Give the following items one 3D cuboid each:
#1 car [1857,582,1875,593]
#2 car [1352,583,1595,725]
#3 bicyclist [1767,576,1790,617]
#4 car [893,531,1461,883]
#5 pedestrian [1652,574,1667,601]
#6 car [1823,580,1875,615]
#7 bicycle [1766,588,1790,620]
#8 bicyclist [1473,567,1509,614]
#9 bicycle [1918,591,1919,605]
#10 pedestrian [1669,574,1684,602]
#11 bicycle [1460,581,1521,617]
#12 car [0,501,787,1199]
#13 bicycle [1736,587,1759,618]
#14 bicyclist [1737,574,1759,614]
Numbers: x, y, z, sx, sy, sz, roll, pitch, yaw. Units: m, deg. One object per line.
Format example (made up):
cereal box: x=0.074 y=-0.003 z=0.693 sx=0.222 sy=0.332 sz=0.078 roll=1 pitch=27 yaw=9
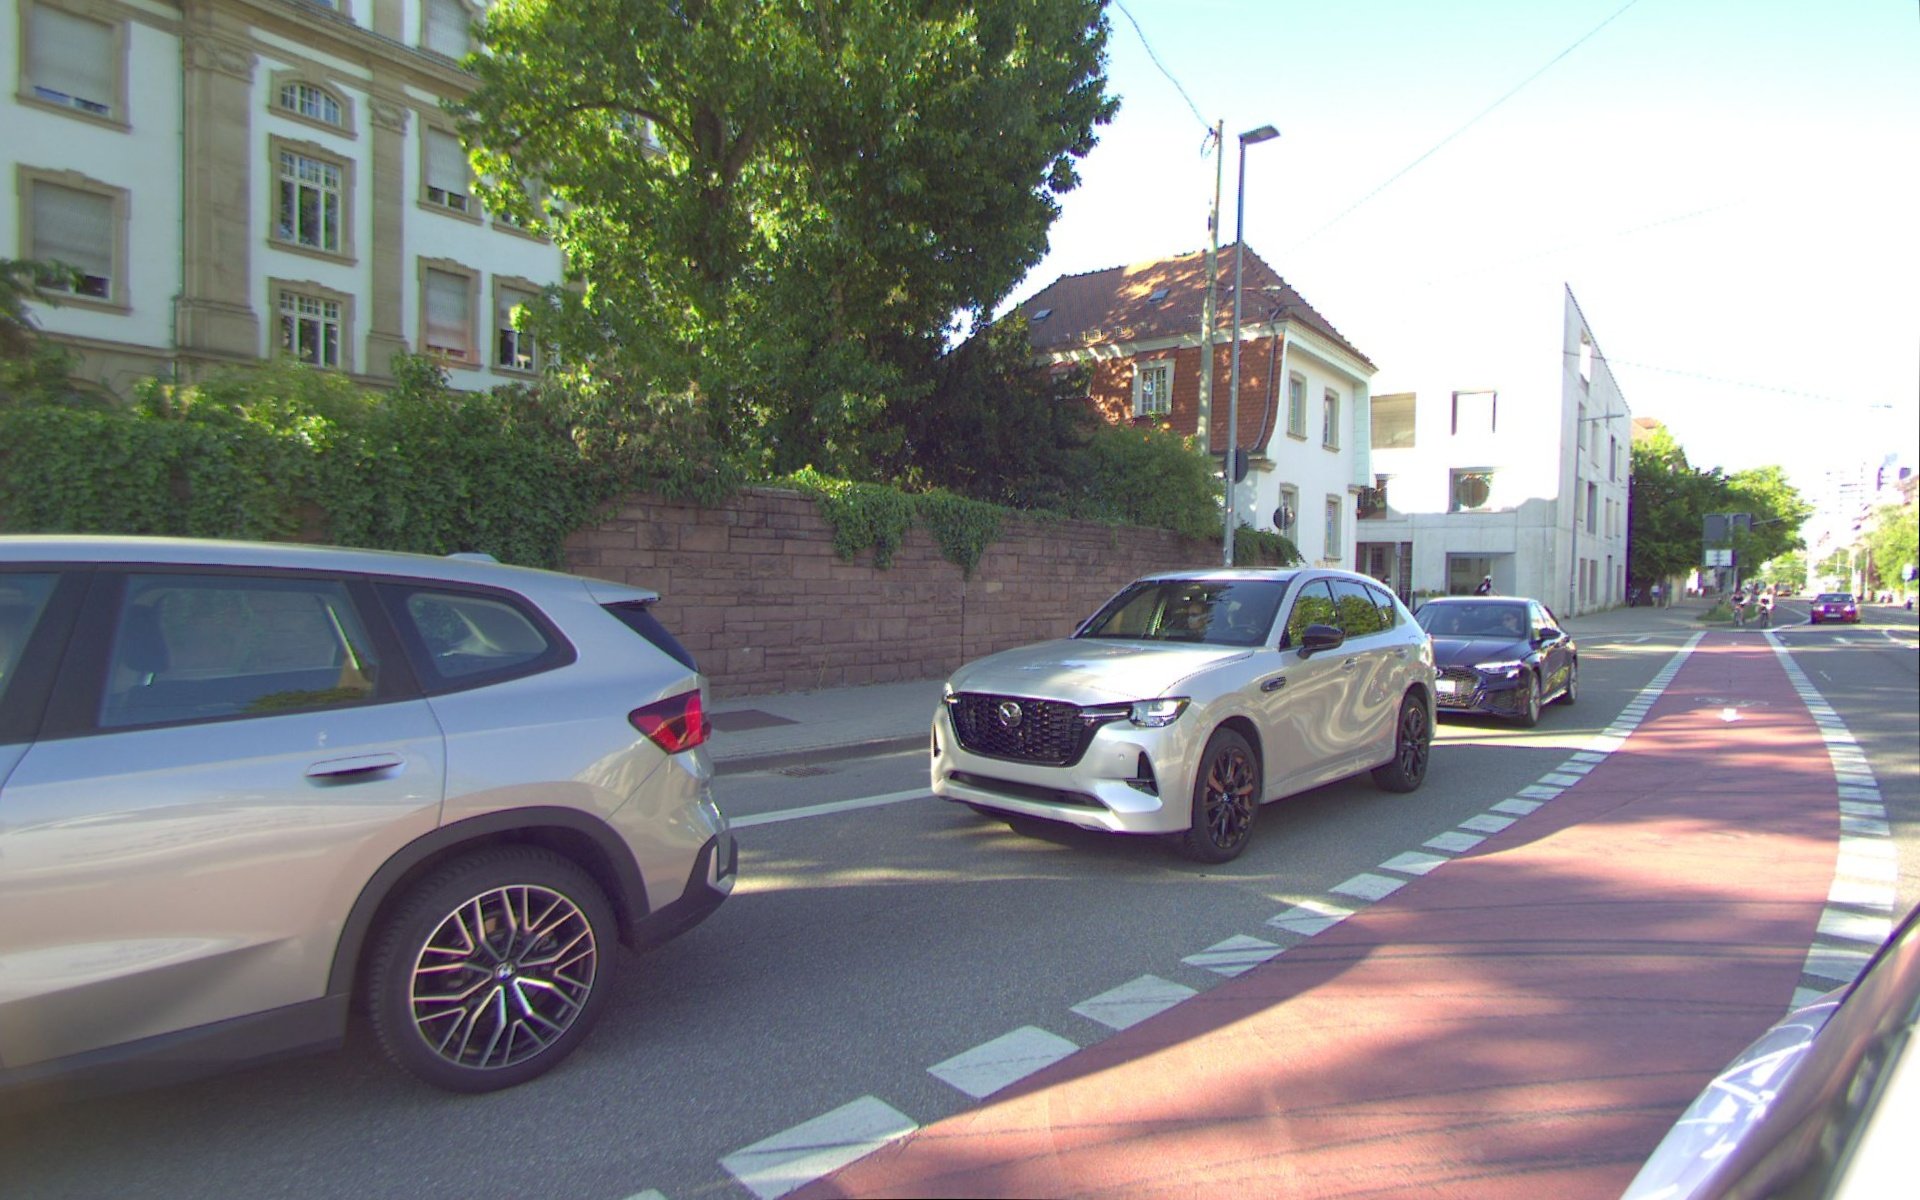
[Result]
car: x=133.367 y=-1.790 z=148.999 sx=1.640 sy=1.580 sz=3.602 roll=0 pitch=0 yaw=36
car: x=6.415 y=0.527 z=12.437 sx=1.782 sy=1.451 sz=3.941 roll=0 pitch=1 yaw=41
bicyclist: x=33.654 y=-0.156 z=41.605 sx=0.673 sy=1.667 sz=1.014 roll=2 pitch=2 yaw=40
car: x=1.812 y=0.492 z=7.227 sx=1.940 sy=1.713 sz=4.460 roll=0 pitch=1 yaw=44
pedestrian: x=42.641 y=-0.772 z=61.661 sx=0.673 sy=1.668 sz=0.806 roll=1 pitch=1 yaw=40
car: x=41.098 y=-0.134 z=46.769 sx=1.644 sy=1.580 sz=3.593 roll=0 pitch=0 yaw=44
bicycle: x=33.663 y=0.143 z=41.630 sx=0.673 sy=1.265 sz=2.421 roll=2 pitch=2 yaw=40
bicyclist: x=19.142 y=-0.340 z=36.472 sx=1.008 sy=1.667 sz=0.677 roll=0 pitch=2 yaw=-28
bicycle: x=84.684 y=-0.163 z=88.846 sx=2.414 sy=1.266 sz=0.675 roll=0 pitch=1 yaw=-42
pedestrian: x=43.408 y=-0.746 z=61.285 sx=0.673 sy=1.668 sz=0.806 roll=1 pitch=1 yaw=40
bicycle: x=19.116 y=-0.038 z=36.473 sx=2.407 sy=1.266 sz=0.677 roll=0 pitch=2 yaw=-28
car: x=-2.829 y=0.578 z=2.956 sx=4.248 sy=1.614 sz=1.792 roll=0 pitch=0 yaw=-36
bicycle: x=33.850 y=0.087 z=43.502 sx=0.673 sy=1.265 sz=2.421 roll=2 pitch=2 yaw=40
bicyclist: x=33.792 y=-0.260 z=43.413 sx=0.673 sy=1.667 sz=1.014 roll=2 pitch=2 yaw=40
